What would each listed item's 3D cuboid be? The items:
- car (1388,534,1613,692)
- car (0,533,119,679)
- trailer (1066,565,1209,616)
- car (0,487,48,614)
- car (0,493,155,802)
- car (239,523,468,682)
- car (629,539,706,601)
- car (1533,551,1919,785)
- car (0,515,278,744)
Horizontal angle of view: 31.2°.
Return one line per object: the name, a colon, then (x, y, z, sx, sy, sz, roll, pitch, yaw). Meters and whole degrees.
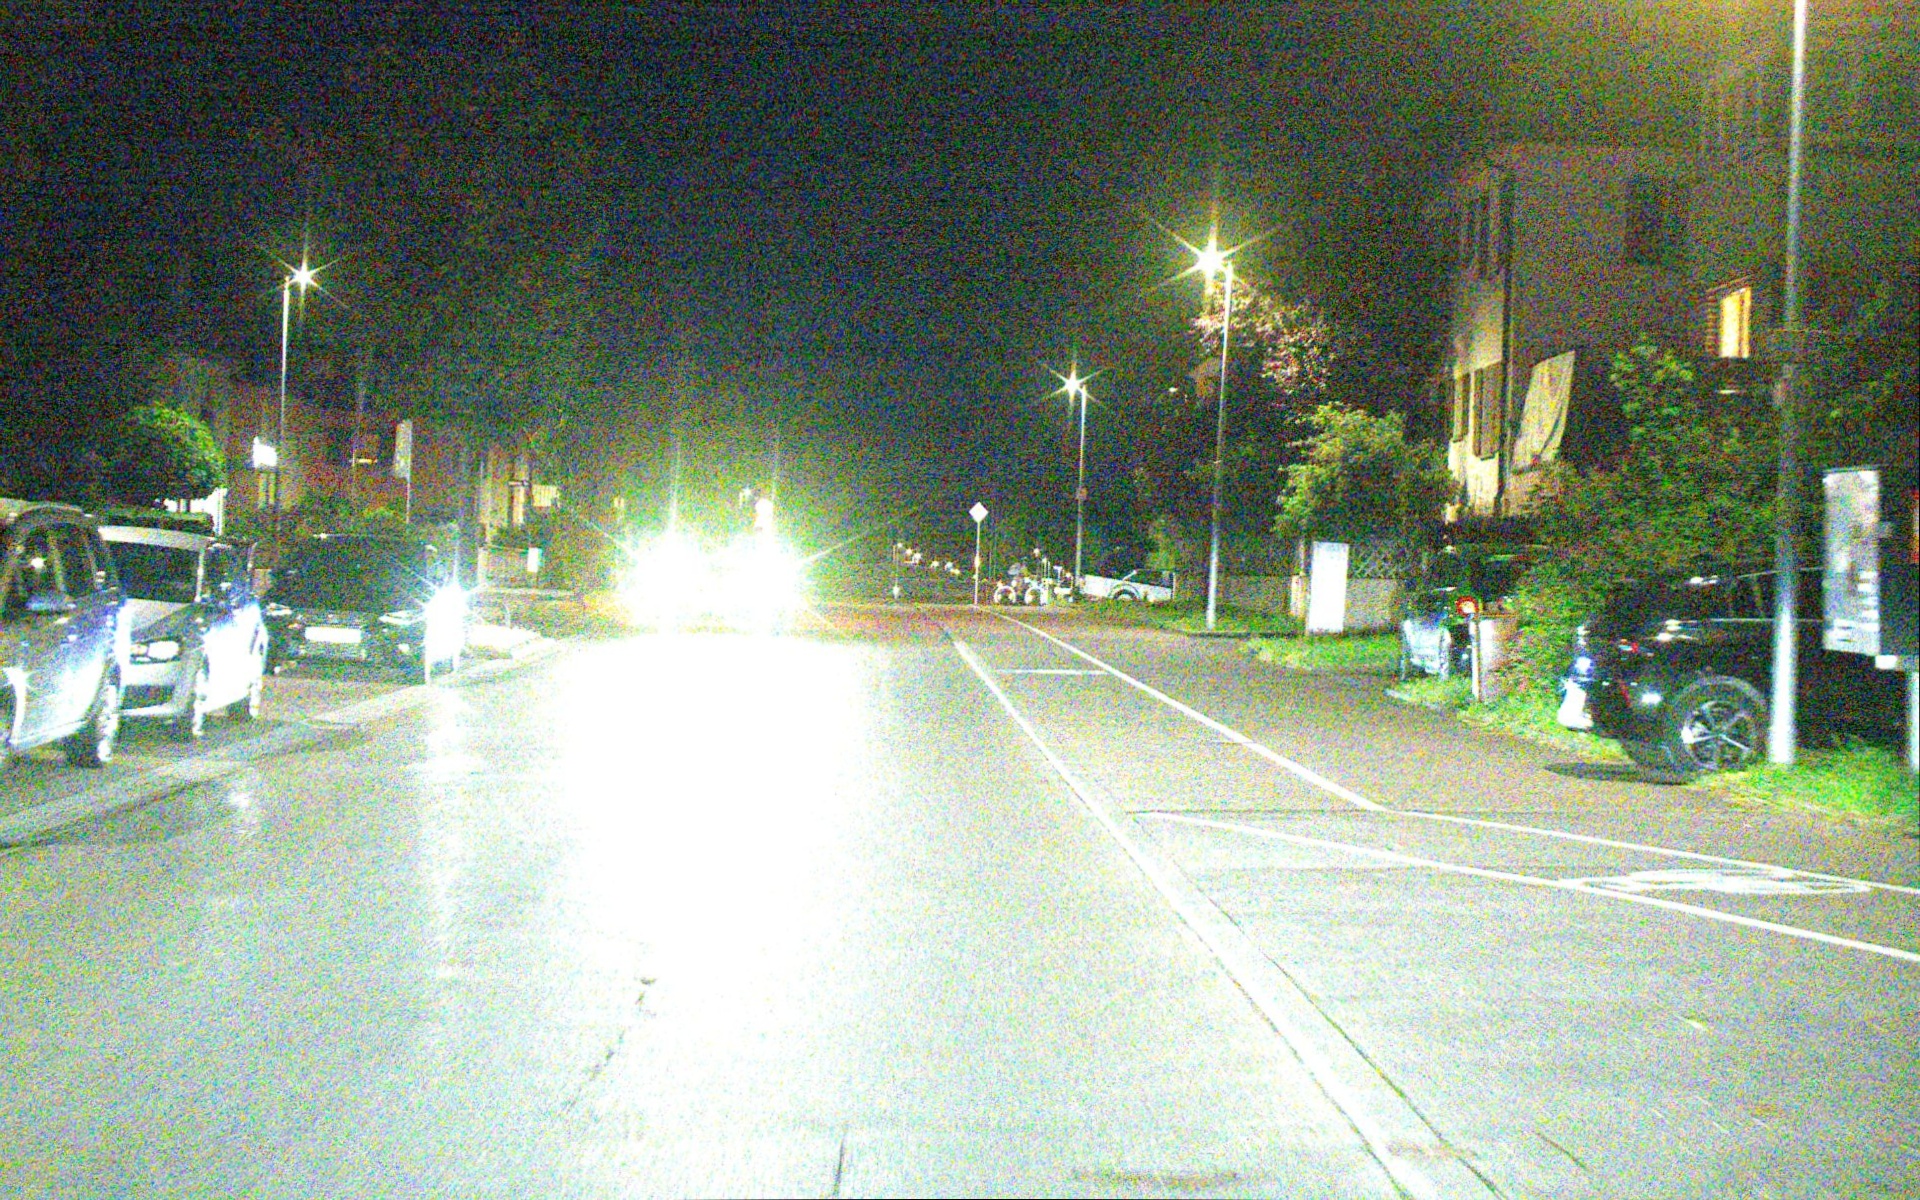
car: (5.679, 0.100, 36.511, 1.639, 1.554, 3.679, 1, 1, -2)
car: (-12.092, 0.049, 40.003, 4.115, 1.656, 2.000, 0, 1, 0)
trailer: (4.529, -0.244, 87.869, 3.432, 0.999, 1.954, 5, 0, -1)
car: (-14.556, -0.664, 46.669, 3.986, 1.697, 1.949, 0, 1, -8)
car: (-6.081, 0.174, 19.808, 1.928, 1.631, 4.471, 3, 1, -2)
car: (-6.172, -0.010, 35.388, 1.749, 1.463, 4.009, 3, 1, -2)
car: (-8.085, -0.832, 95.333, 1.672, 1.585, 3.987, 3, 0, 1)
car: (5.949, 0.428, 22.925, 3.904, 1.481, 1.833, 0, 1, -1)
car: (-6.208, 0.157, 25.078, 1.770, 1.463, 3.967, 3, 1, -2)
